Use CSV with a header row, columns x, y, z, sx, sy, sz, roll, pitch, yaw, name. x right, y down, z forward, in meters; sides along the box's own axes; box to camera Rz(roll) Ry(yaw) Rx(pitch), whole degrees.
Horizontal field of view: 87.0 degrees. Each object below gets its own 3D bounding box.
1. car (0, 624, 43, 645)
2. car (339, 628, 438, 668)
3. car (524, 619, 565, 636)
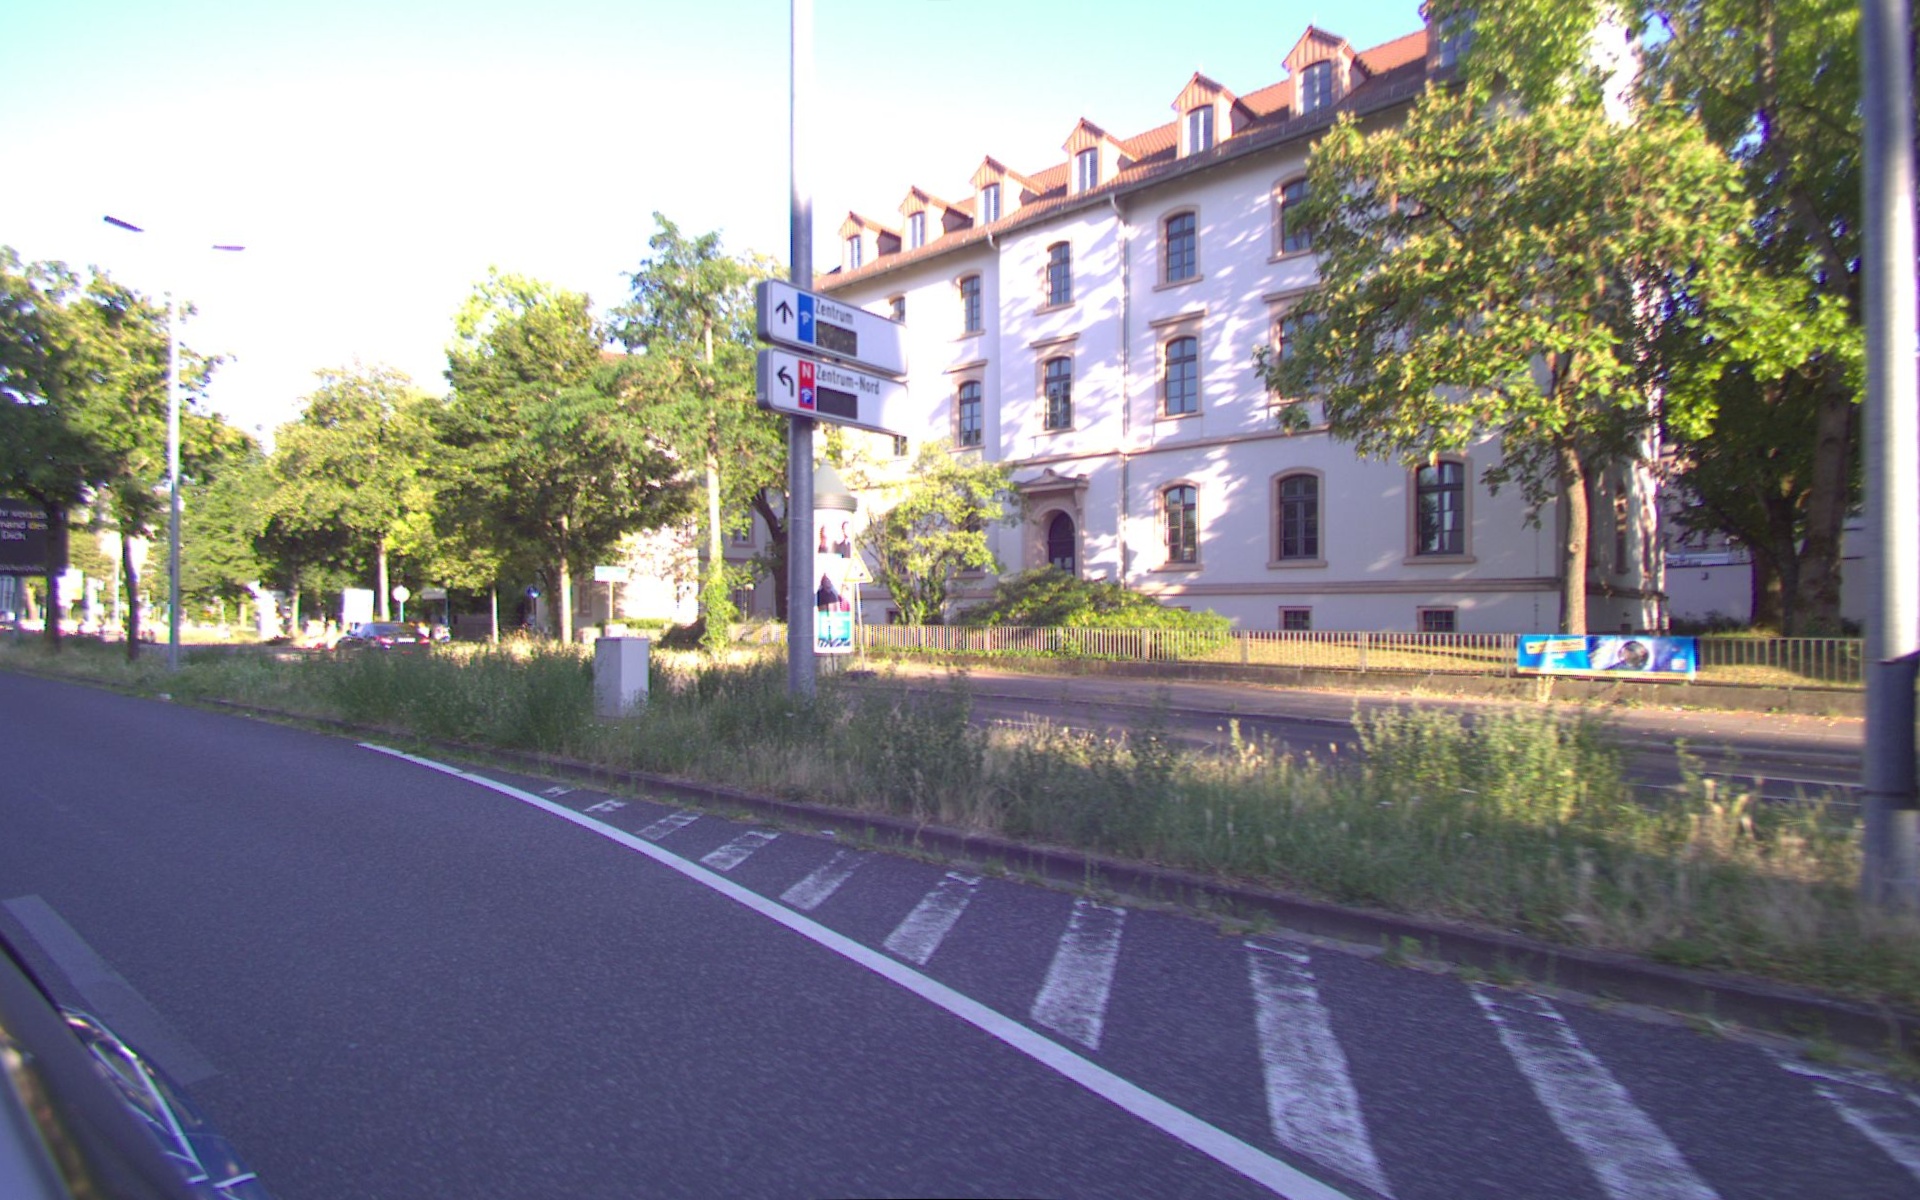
x,y,z,sx,sy,sz,roll,pitch,yaw,name
-66.832,2.455,72.048,4.005,1.428,1.755,-1,-5,41,car
-20.133,1.670,35.588,4.005,1.283,1.755,-1,-5,41,car
-36.502,2.432,88.951,3.997,1.386,1.677,-1,1,40,car
